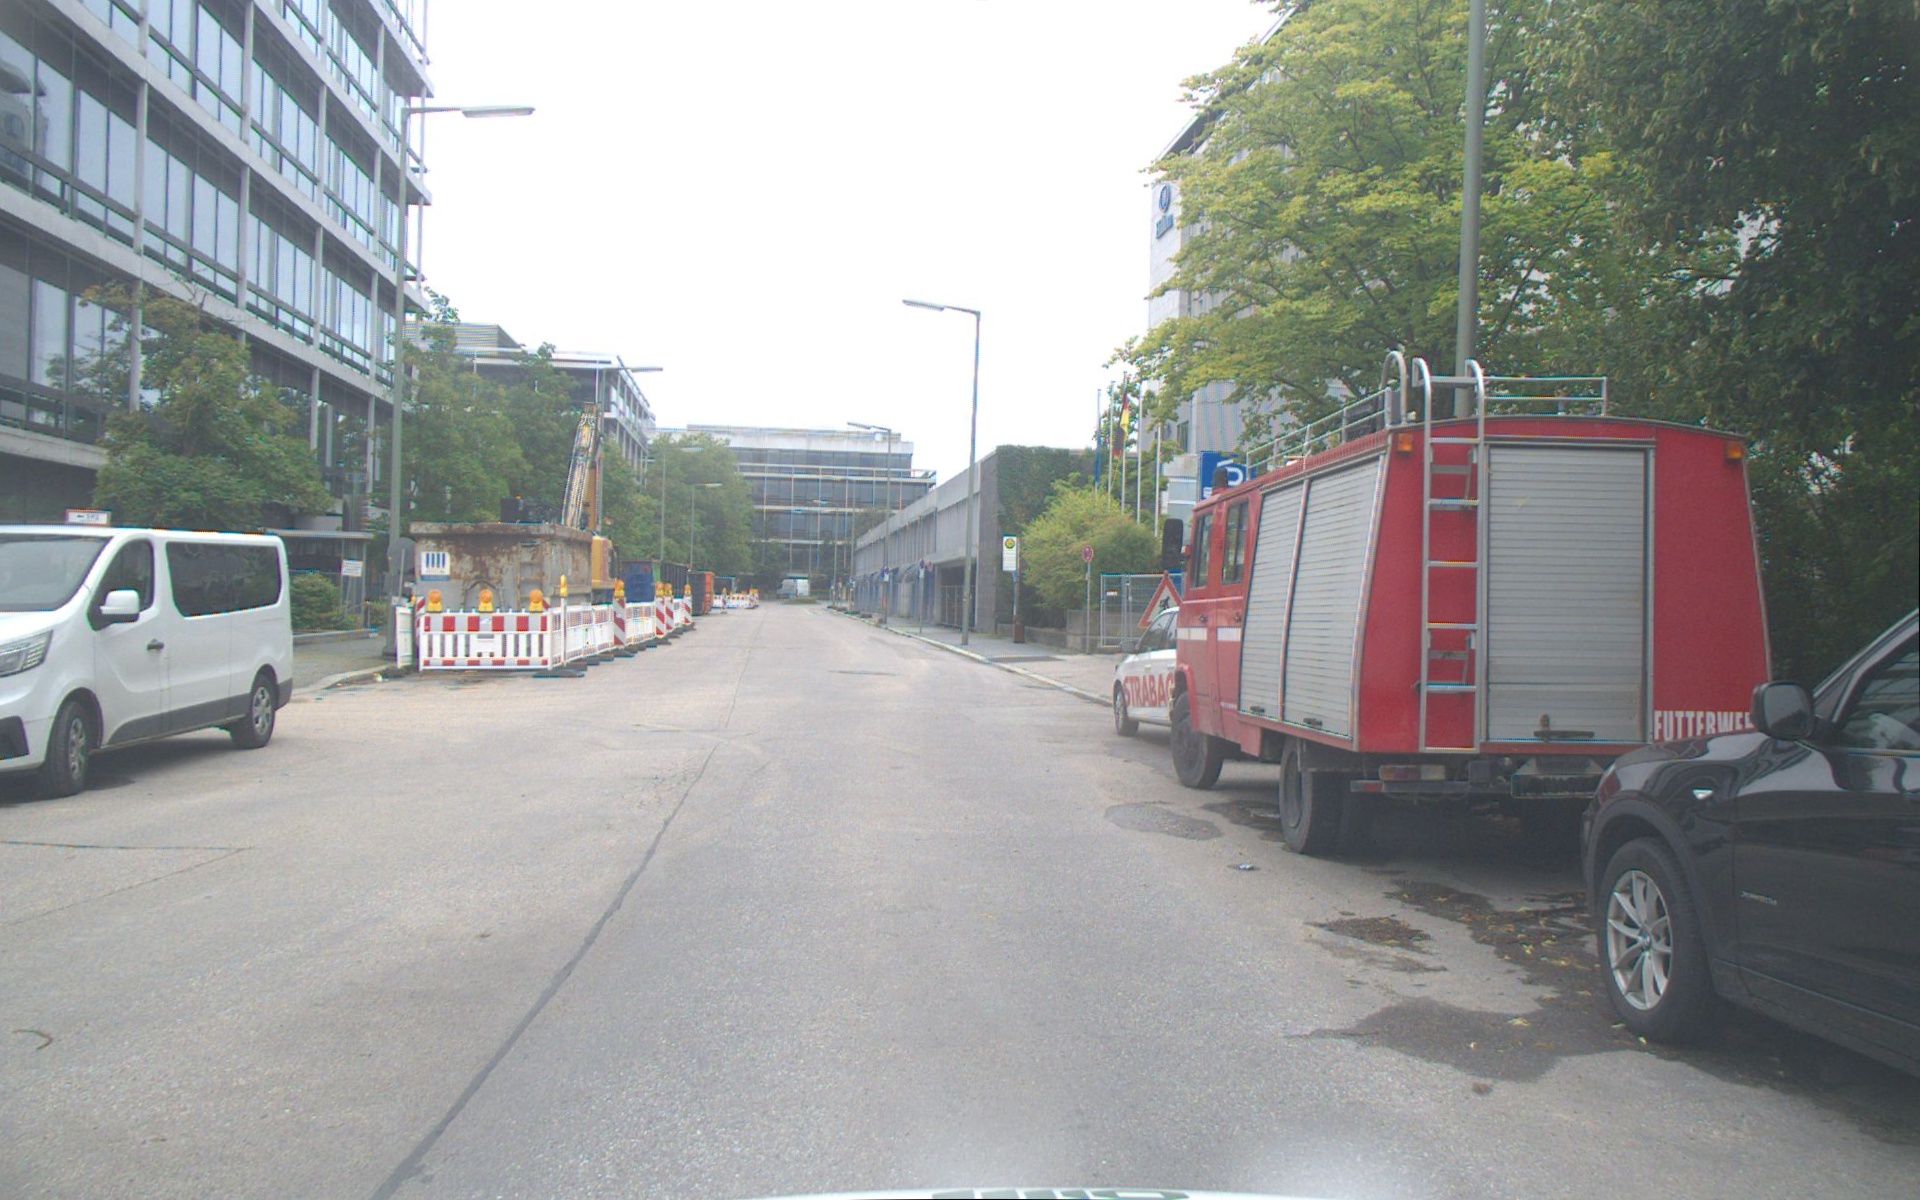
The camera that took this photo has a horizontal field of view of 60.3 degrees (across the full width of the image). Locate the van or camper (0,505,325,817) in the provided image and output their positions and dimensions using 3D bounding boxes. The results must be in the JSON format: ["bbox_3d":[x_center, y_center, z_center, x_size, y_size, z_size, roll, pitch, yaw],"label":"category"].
[{"bbox_3d":[-7.154,0.344,13.495,1.953,2.049,5.376,1,1,-1],"label":"van or camper"}]

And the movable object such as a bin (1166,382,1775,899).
[{"bbox_3d":[2.883,0.177,11.175,2.061,2.501,6.185,1,0,-1],"label":"movable object such as a bin"}]

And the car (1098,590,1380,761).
[{"bbox_3d":[2.816,0.706,17.691,1.743,1.577,4.249,1,0,-9],"label":"car"}]

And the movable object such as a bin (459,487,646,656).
[{"bbox_3d":[-10.038,-0.706,41.808,3.178,3.781,9.000,1,1,-5],"label":"movable object such as a bin"}]

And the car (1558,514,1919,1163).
[{"bbox_3d":[3.363,0.628,4.278,1.741,1.678,4.456,1,0,-4],"label":"car"}]
